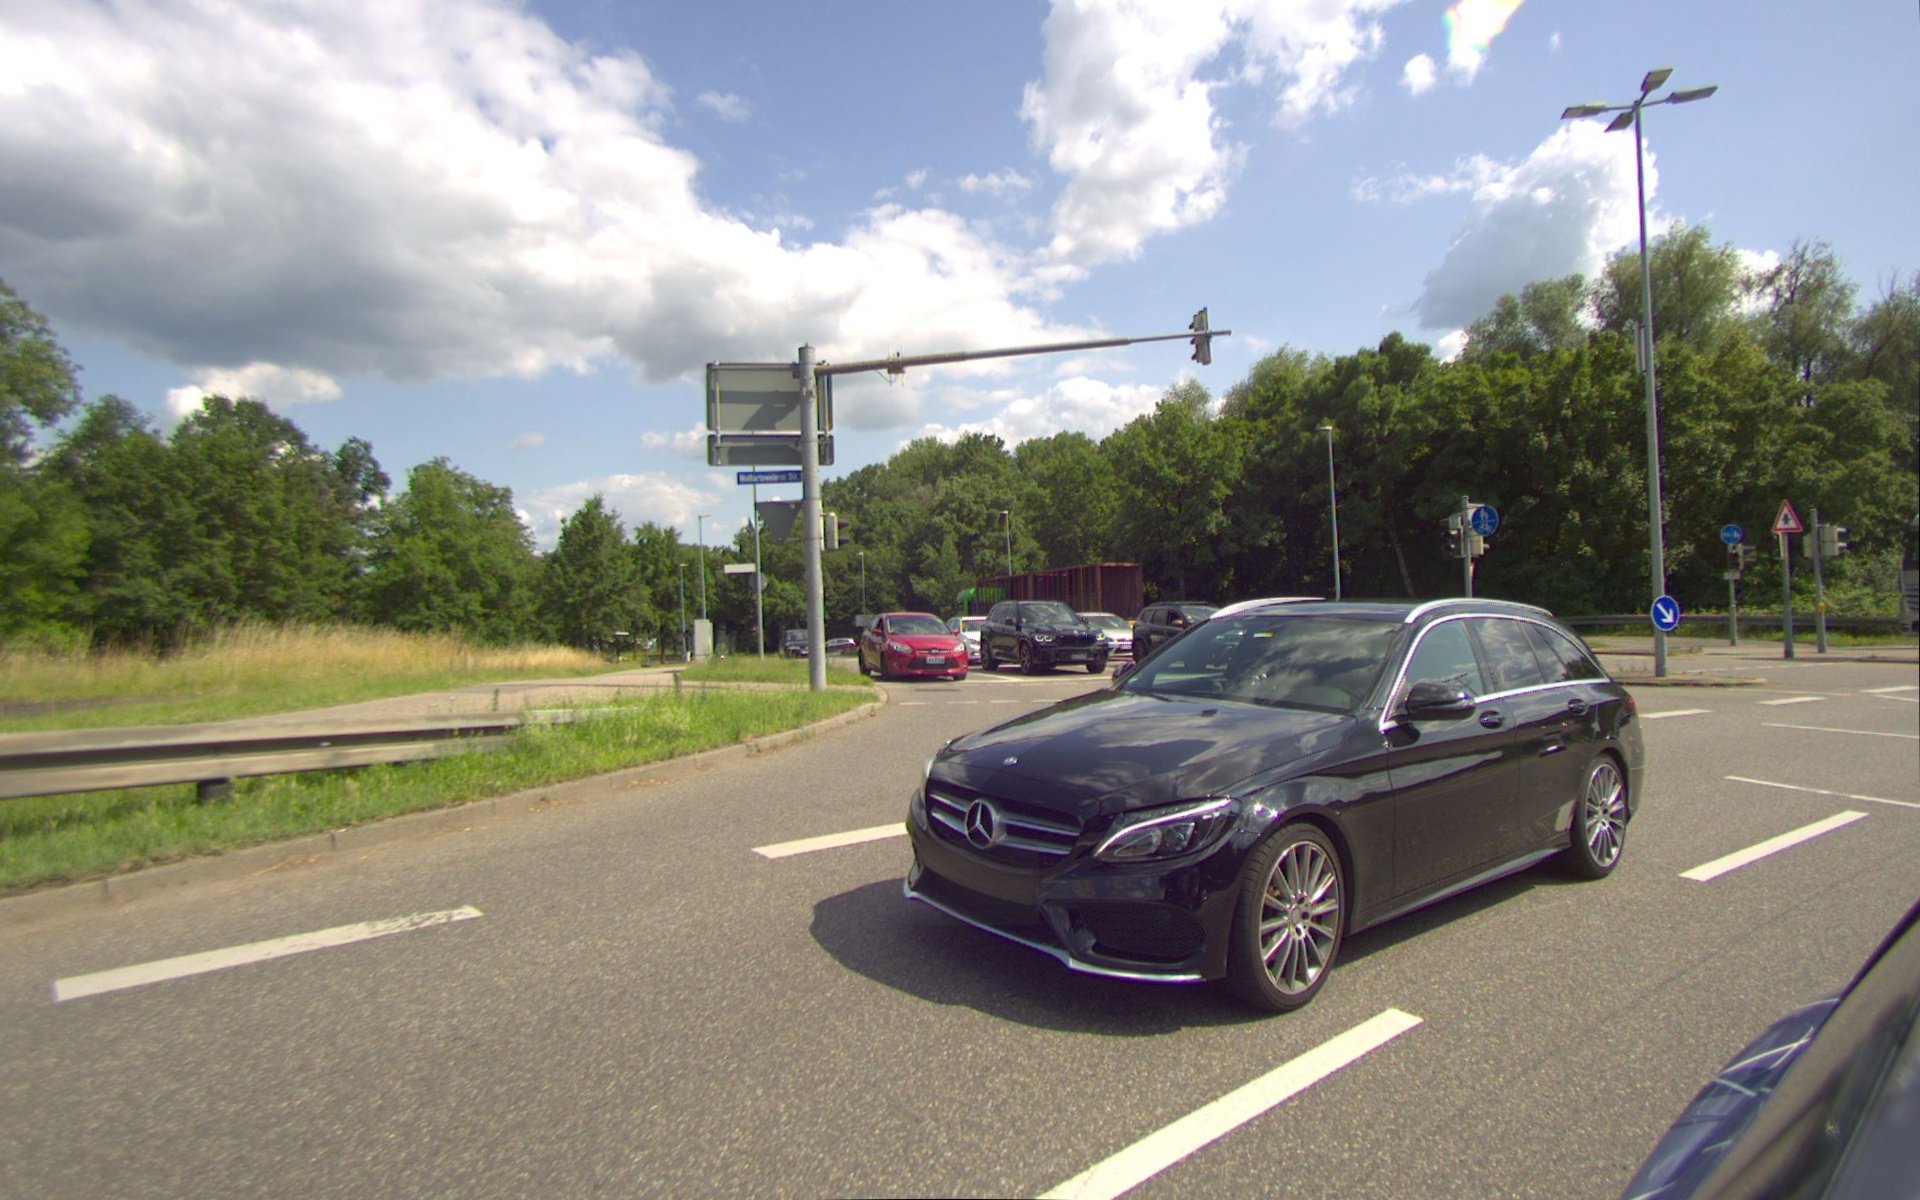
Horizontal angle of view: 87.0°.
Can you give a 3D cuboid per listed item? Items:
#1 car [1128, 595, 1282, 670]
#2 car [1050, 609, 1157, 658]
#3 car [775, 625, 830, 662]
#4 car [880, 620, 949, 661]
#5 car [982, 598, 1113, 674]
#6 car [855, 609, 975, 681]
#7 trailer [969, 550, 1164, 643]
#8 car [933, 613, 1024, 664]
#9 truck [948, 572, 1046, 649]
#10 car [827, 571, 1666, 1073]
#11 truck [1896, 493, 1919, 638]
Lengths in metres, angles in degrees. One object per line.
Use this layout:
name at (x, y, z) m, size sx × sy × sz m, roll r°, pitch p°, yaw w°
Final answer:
car at (5.940, 0.781, 25.157) m, size 1.806 × 1.637 × 4.302 m, roll -2°, pitch -1°, yaw -15°
car at (4.353, 1.027, 31.505) m, size 1.611 × 1.393 × 4.551 m, roll 0°, pitch -1°, yaw -15°
car at (-6.943, 1.873, 44.283) m, size 1.828 × 1.483 × 4.007 m, roll -2°, pitch -1°, yaw -16°
car at (-1.761, 1.462, 37.479) m, size 1.665 × 1.393 × 4.223 m, roll 0°, pitch -1°, yaw -15°
car at (2.014, 0.836, 24.591) m, size 1.799 × 1.667 × 4.223 m, roll 0°, pitch -1°, yaw -15°
car at (-1.084, 0.936, 22.099) m, size 1.722 × 1.393 × 4.223 m, roll 0°, pitch -1°, yaw -15°
trailer at (4.709, 0.085, 49.976) m, size 2.593 × 3.942 × 13.864 m, roll -1°, pitch -2°, yaw -25°
car at (0.477, 1.130, 30.681) m, size 1.611 × 1.393 × 4.223 m, roll 0°, pitch -1°, yaw -15°
truck at (1.930, 0.655, 55.800) m, size 2.819 × 3.954 × 5.884 m, roll -1°, pitch -2°, yaw -26°
car at (1.665, 0.614, 4.991) m, size 4.290 × 1.453 × 1.795 m, roll -1°, pitch 0°, yaw -38°
truck at (29.171, -0.989, 26.402) m, size 6.690 × 3.895 × 2.777 m, roll -1°, pitch -1°, yaw 0°
